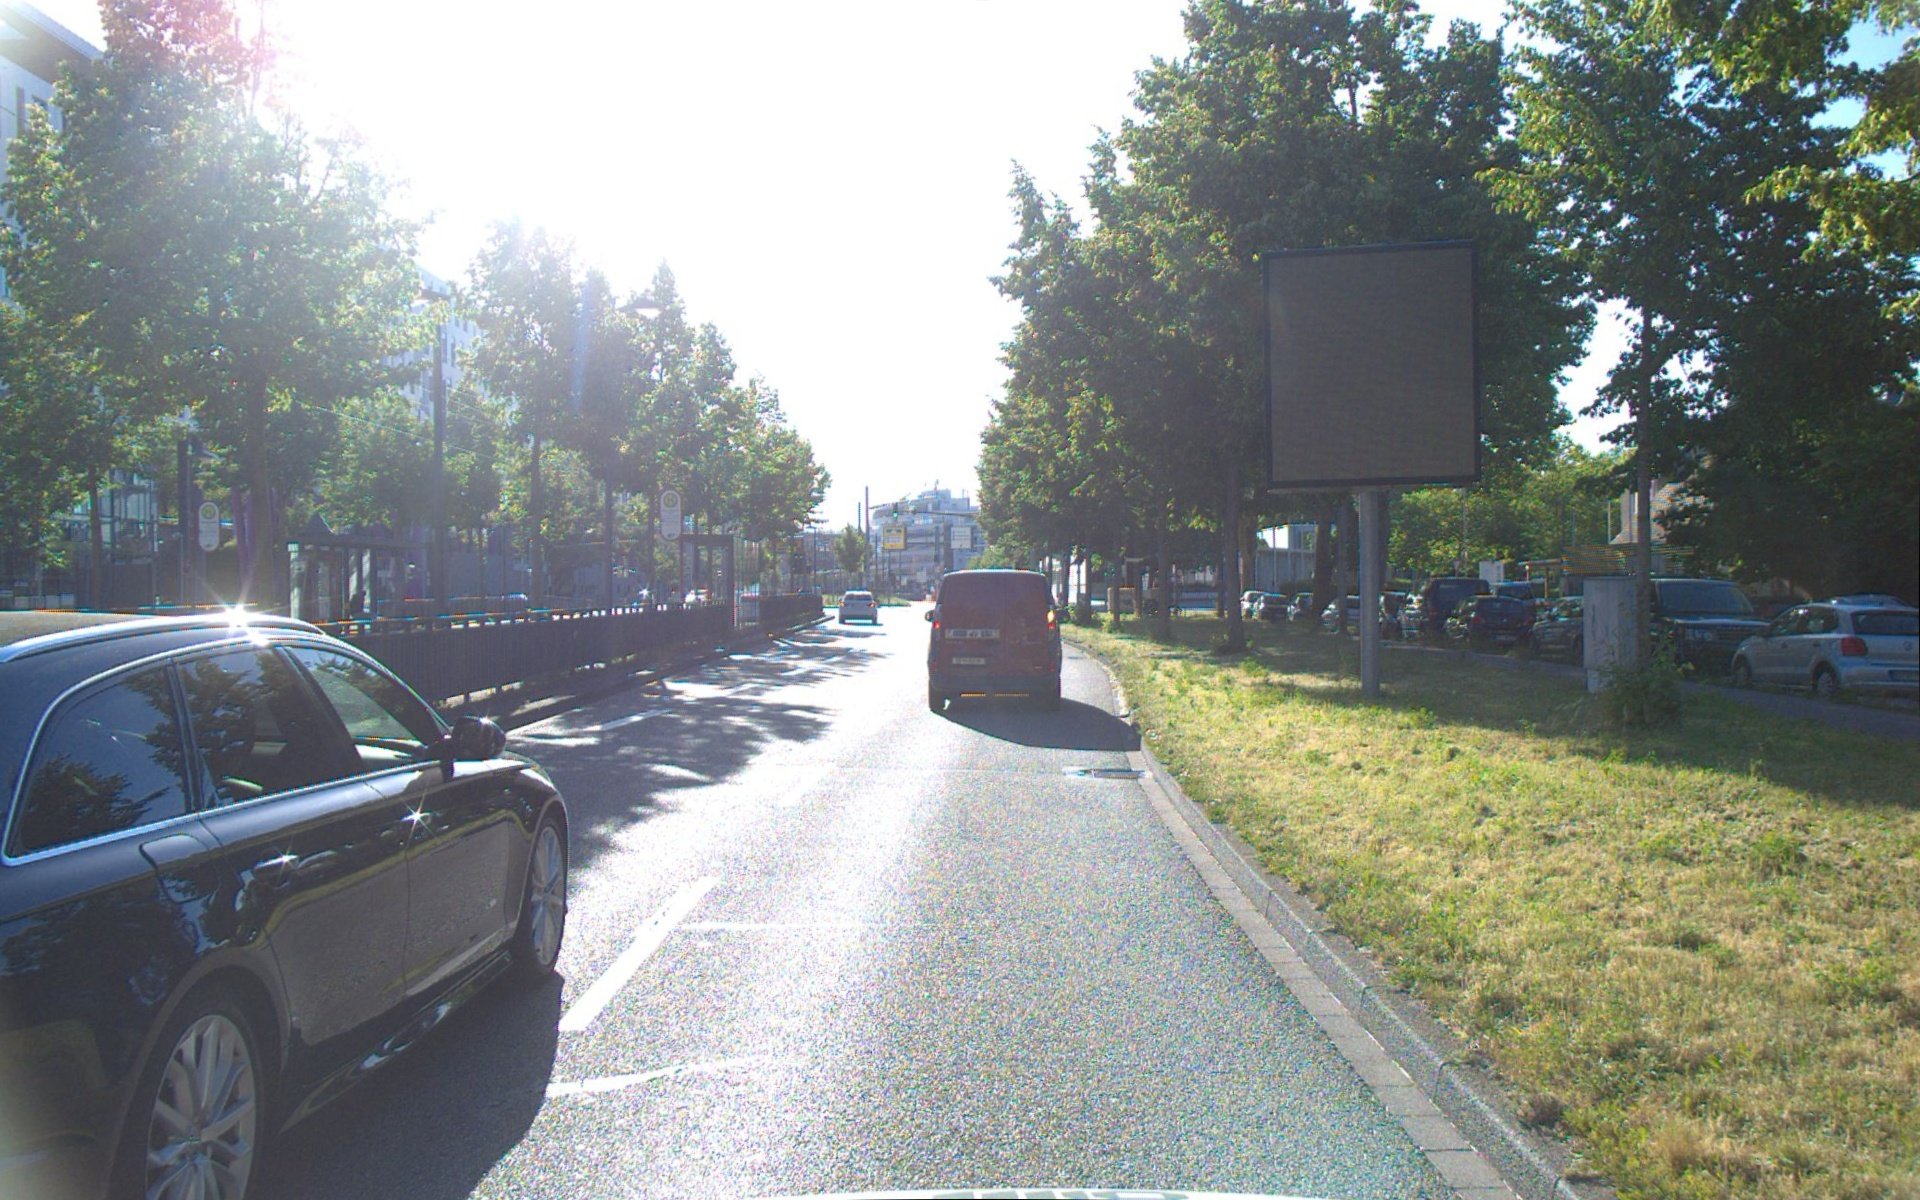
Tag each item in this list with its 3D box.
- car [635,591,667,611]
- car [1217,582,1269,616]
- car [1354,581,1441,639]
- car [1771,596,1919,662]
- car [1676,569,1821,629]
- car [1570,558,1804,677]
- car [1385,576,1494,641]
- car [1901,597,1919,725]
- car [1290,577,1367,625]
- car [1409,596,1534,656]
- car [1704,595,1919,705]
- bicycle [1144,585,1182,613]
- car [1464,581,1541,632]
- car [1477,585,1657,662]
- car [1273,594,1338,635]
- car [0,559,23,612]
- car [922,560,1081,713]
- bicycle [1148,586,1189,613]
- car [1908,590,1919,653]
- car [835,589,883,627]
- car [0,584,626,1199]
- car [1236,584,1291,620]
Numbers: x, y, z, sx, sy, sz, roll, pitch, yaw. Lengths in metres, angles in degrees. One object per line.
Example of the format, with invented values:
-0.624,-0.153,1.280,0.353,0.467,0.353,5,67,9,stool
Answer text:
-28.436,0.078,152.306,1.952,1.795,4.001,1,0,3,car
14.618,-0.042,85.697,1.833,1.713,3.998,1,0,-3,car
13.883,0.319,52.651,1.832,1.713,4.001,1,0,3,car
22.356,0.689,41.360,1.833,1.509,4.690,-2,0,0,car
22.215,-0.014,46.817,1.833,1.574,4.690,-2,0,0,car
12.523,0.291,28.872,1.833,1.852,4.891,1,0,-1,car
13.476,0.243,46.702,1.833,1.713,3.999,1,0,-1,car
12.500,0.751,17.941,1.832,1.551,5.057,1,0,2,car
13.806,0.036,62.155,1.833,1.713,3.998,-1,0,-2,car
12.789,0.622,41.587,1.833,1.391,3.999,1,0,-1,car
12.492,0.673,23.633,1.833,1.413,3.999,1,0,-1,car
9.640,-0.036,78.606,1.742,1.290,0.479,1,-1,0,bicycle
22.983,0.293,70.202,1.953,2.049,4.000,-2,-1,0,car
12.529,0.463,34.488,1.833,1.459,4.900,1,0,-1,car
14.985,0.622,72.011,1.833,1.713,3.998,1,0,-2,car
-38.083,-0.594,63.131,1.953,2.049,4.563,1,0,0,car
0.481,0.462,22.662,1.773,1.870,3.997,1,0,-4,car
9.814,-0.029,77.830,1.878,1.290,0.479,0,0,0,bicycle
21.864,0.426,34.614,1.695,1.395,4.314,-3,-1,3,car
-4.554,0.361,75.001,1.953,1.646,3.999,1,0,-1,car
-2.455,0.723,4.632,1.912,1.506,5.085,1,0,1,car
14.855,0.104,81.111,1.833,1.713,3.998,1,0,-2,car
